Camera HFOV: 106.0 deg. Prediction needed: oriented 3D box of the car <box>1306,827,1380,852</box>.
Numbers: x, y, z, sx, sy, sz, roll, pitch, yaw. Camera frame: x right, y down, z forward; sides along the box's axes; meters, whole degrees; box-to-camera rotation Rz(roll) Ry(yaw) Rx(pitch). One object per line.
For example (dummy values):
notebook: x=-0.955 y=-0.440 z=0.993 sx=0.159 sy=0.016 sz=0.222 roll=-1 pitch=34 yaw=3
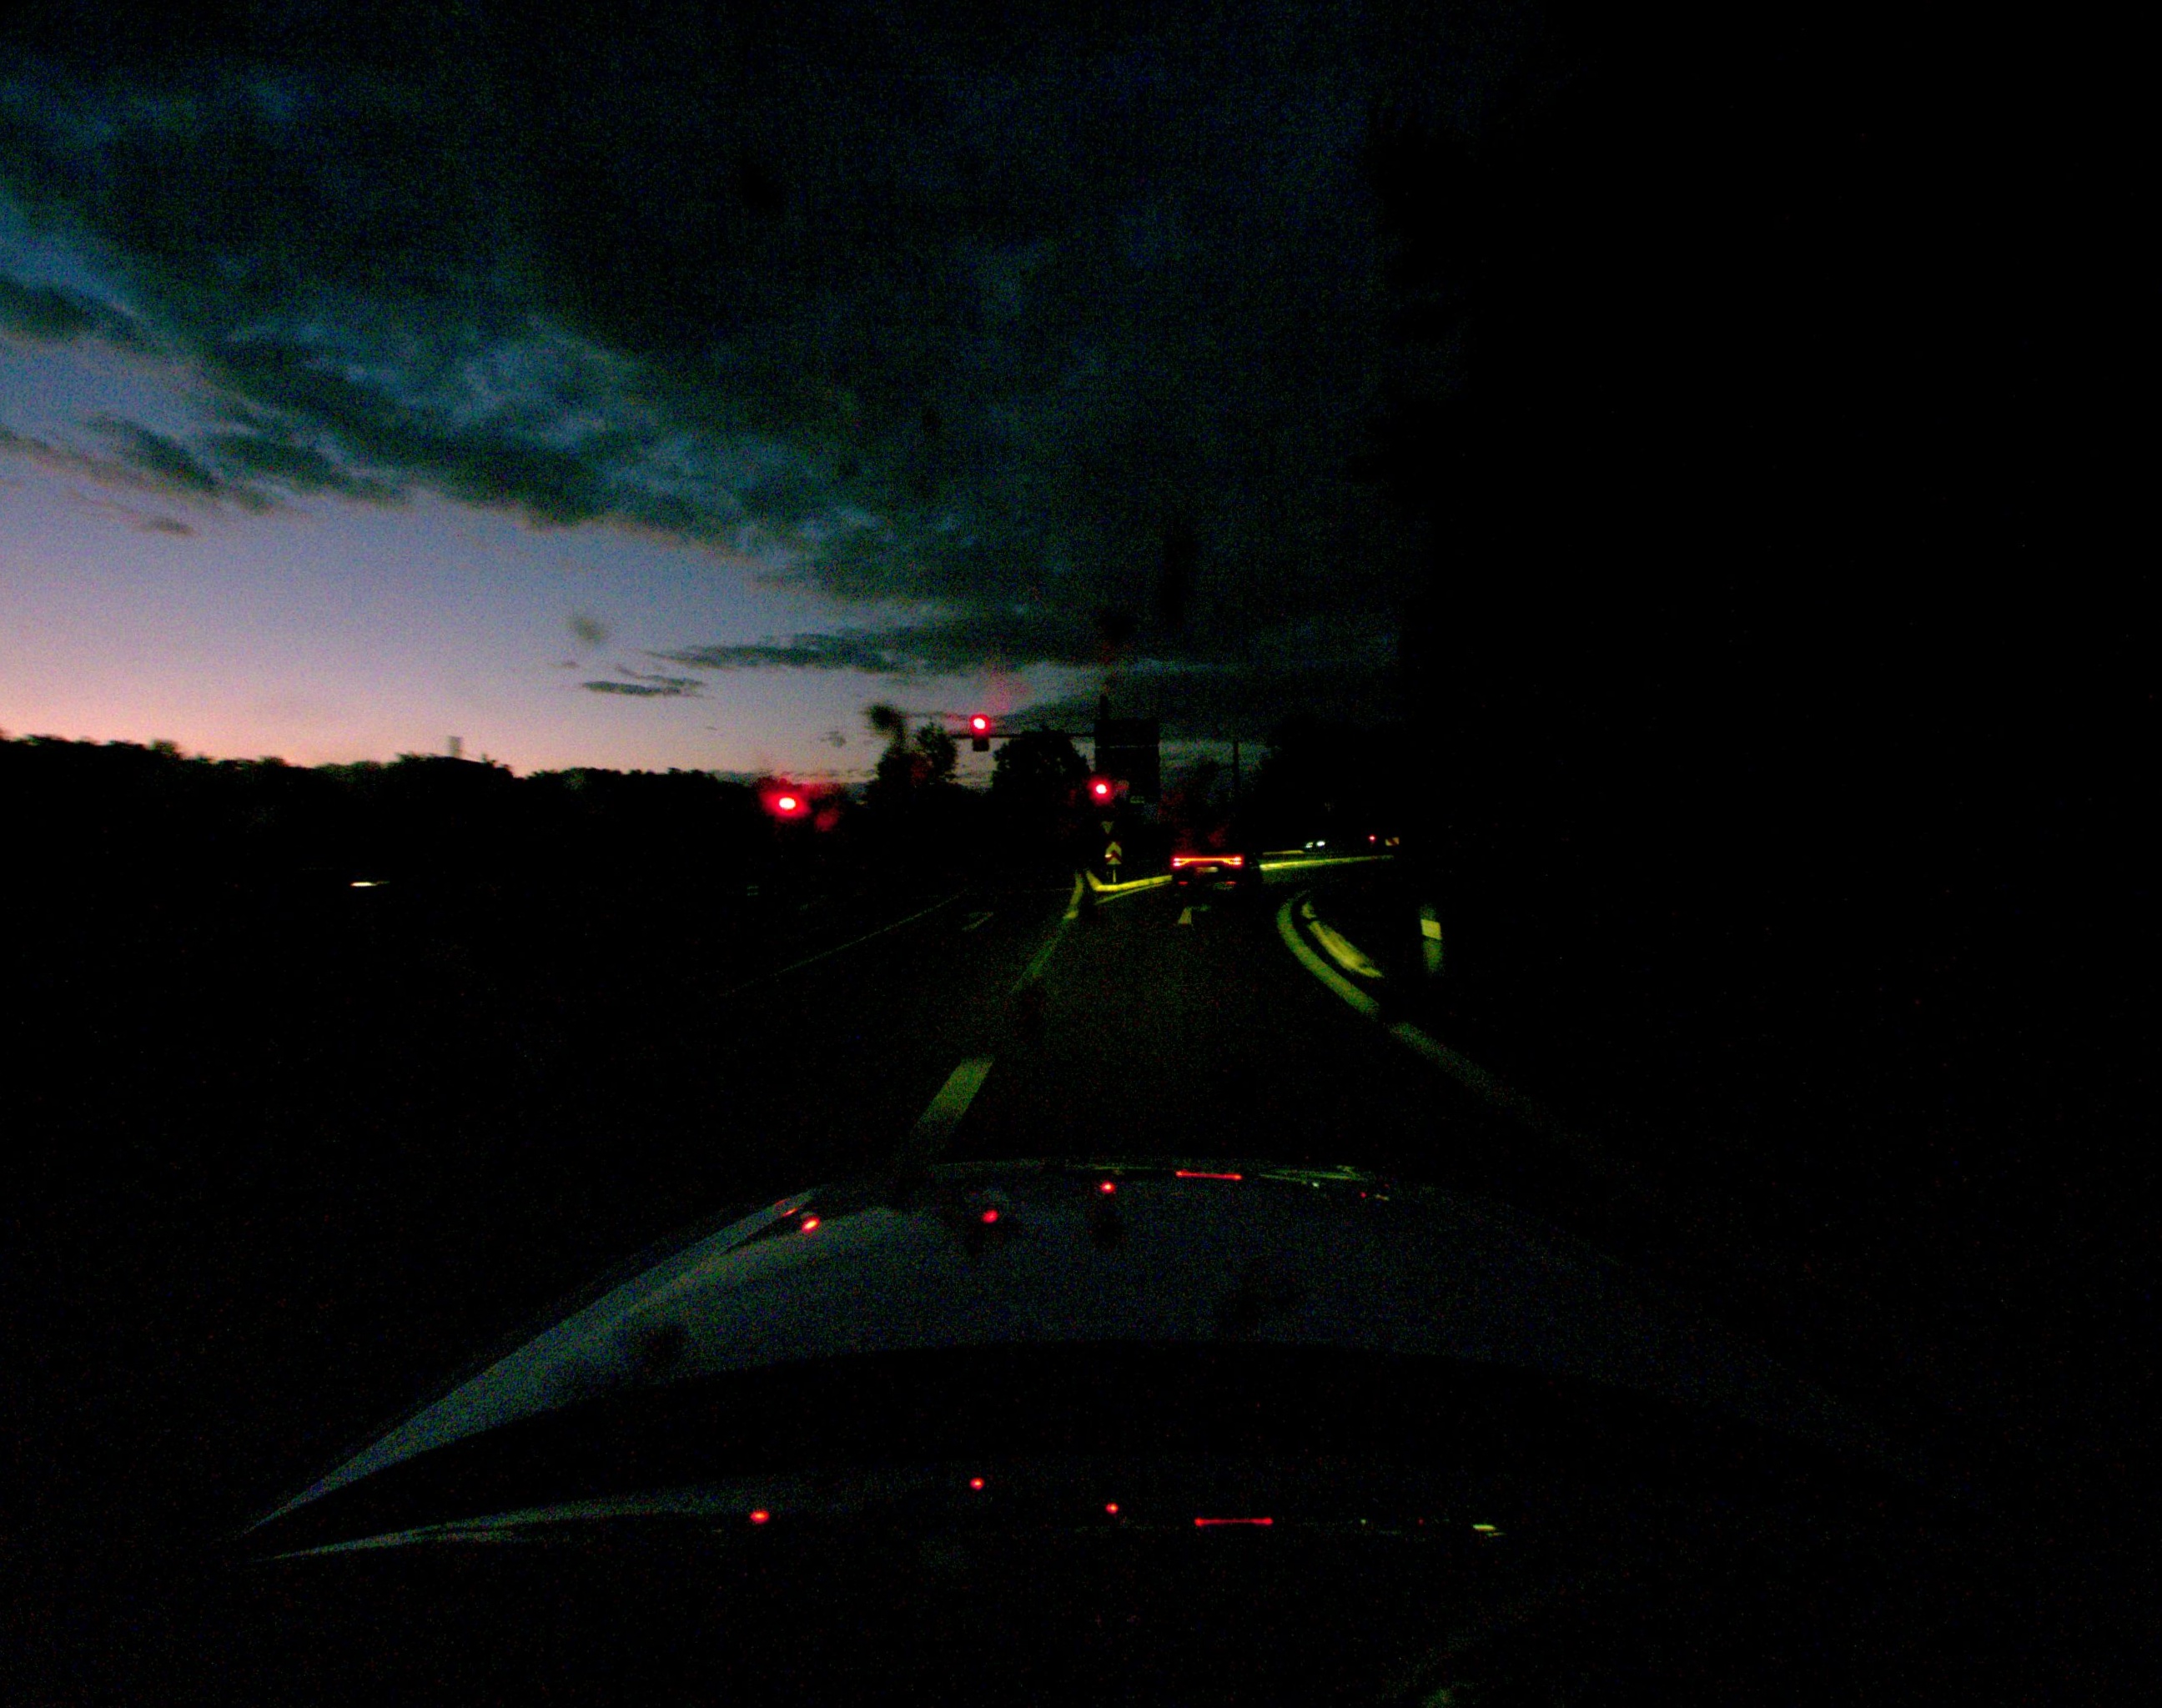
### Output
car: x=19.370 y=-1.047 z=60.273 sx=4.863 sy=1.682 sz=1.991 roll=-2 pitch=0 yaw=-14

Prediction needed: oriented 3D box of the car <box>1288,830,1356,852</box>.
car: x=18.807 y=-0.995 z=63.546 sx=4.724 sy=1.453 sz=1.991 roll=-3 pitch=1 yaw=-13

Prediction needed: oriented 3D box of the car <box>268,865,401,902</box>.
car: x=-34.396 y=1.356 z=37.669 sx=3.992 sy=1.453 sz=1.991 roll=-3 pitch=-1 yaw=-14

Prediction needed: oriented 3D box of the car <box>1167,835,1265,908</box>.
car: x=3.585 y=0.355 z=20.977 sx=1.886 sy=1.619 sz=4.577 roll=0 pitch=2 yaw=17
